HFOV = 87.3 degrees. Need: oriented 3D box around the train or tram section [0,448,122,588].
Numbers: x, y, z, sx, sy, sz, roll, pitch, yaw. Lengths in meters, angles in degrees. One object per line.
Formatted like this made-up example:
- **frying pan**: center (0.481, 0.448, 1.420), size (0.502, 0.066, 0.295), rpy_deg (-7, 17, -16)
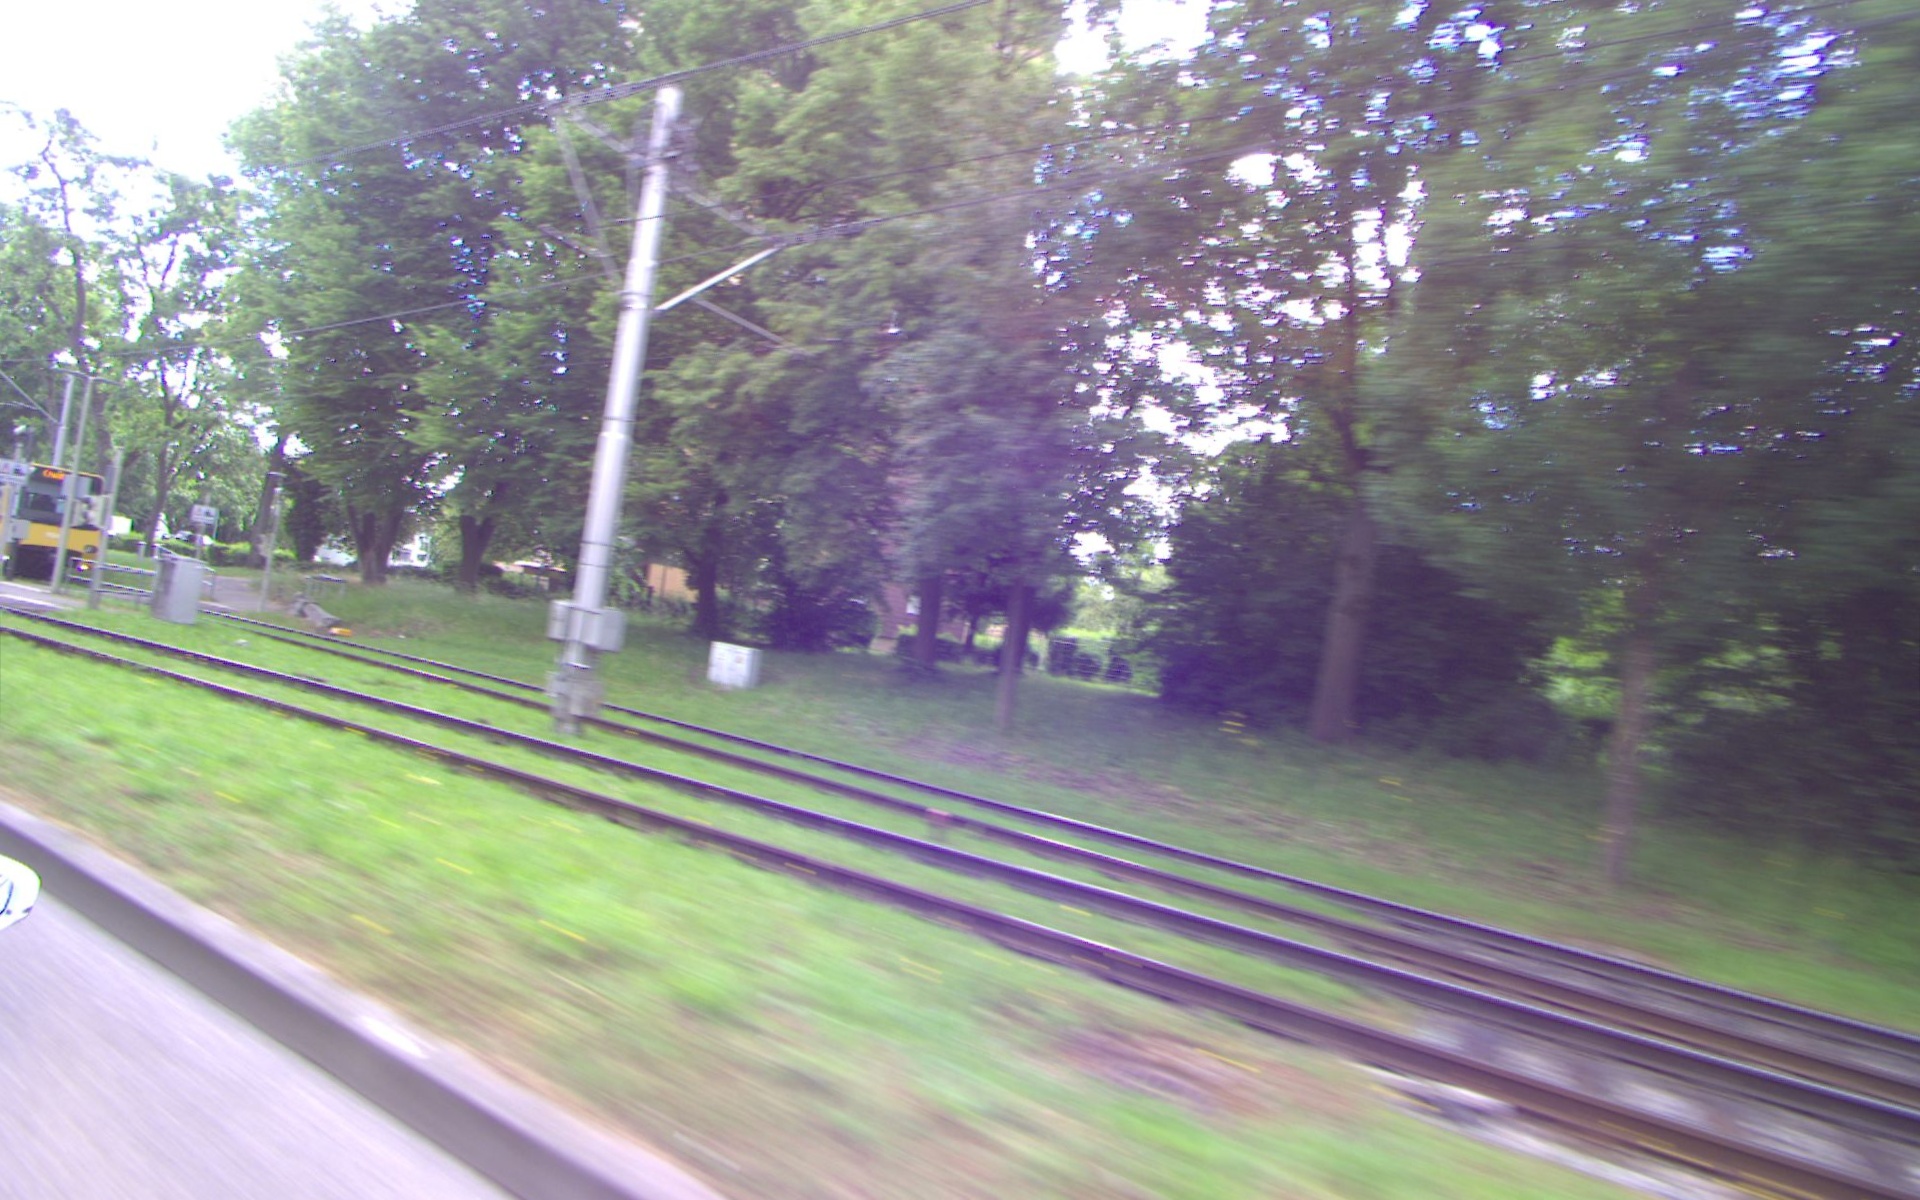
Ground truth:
- **train or tram section**: center (-35.506, -3.180, 35.233), size (18.217, 3.777, 2.822), rpy_deg (6, -4, 30)
